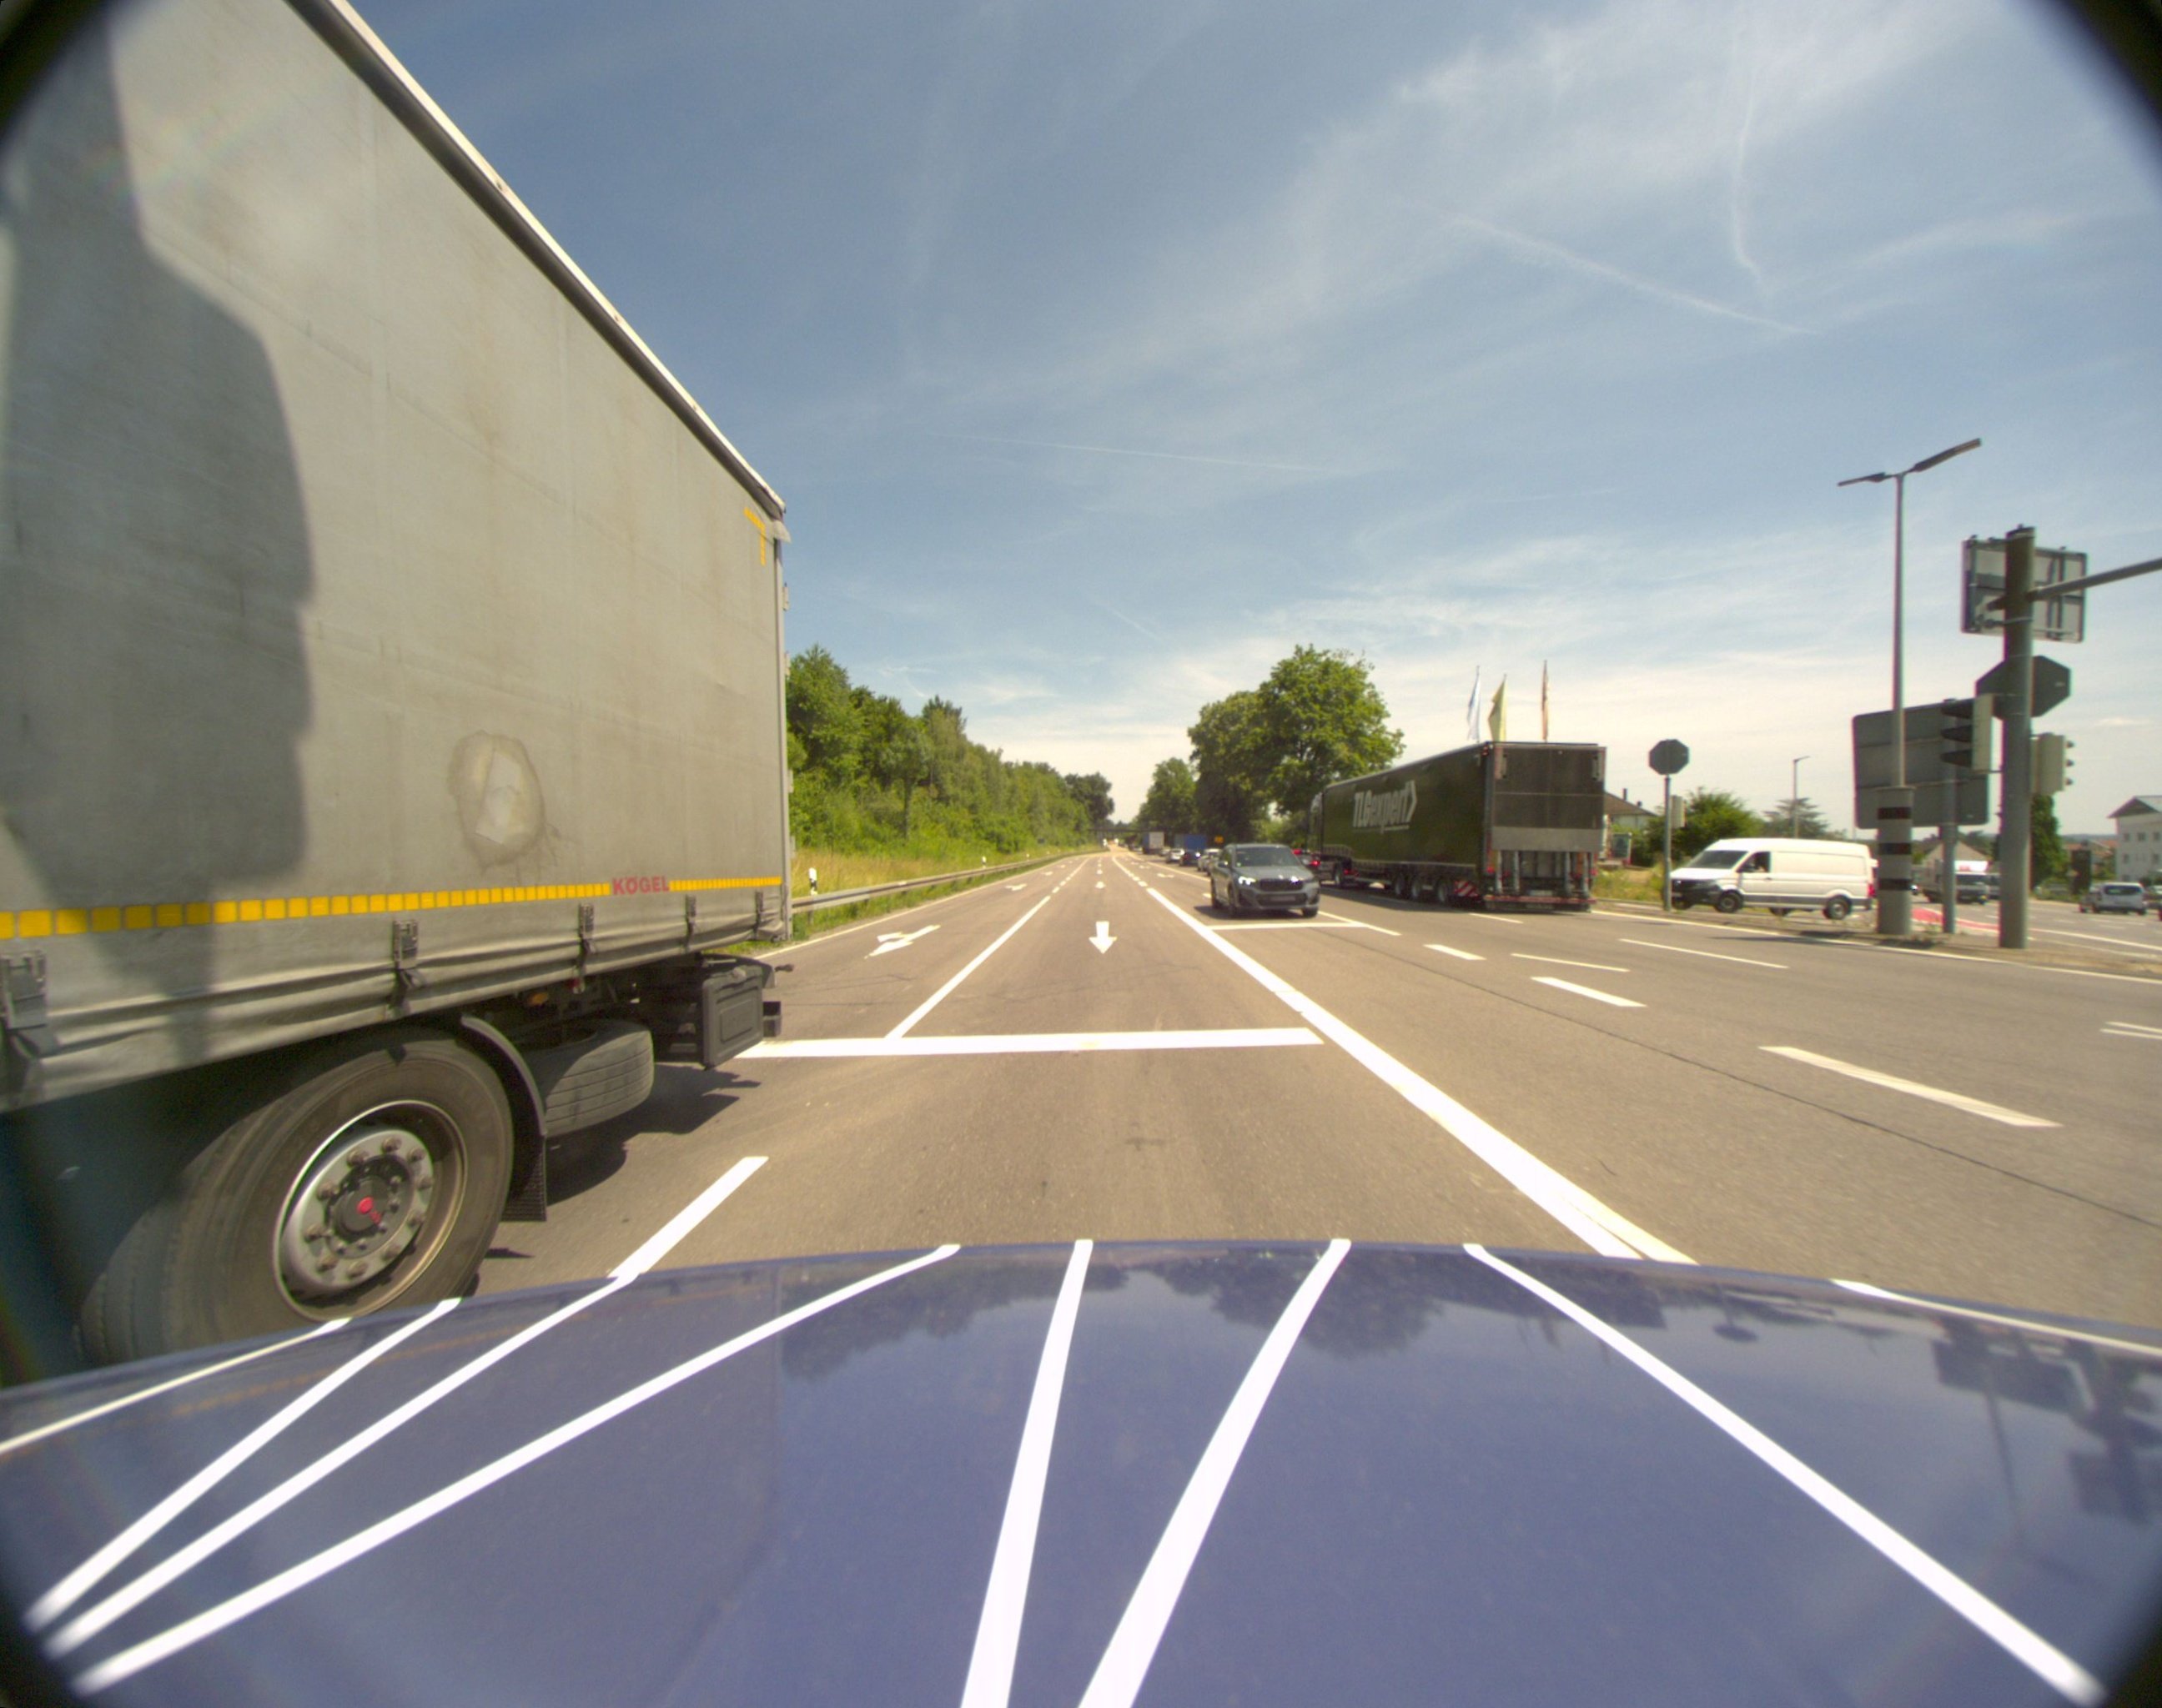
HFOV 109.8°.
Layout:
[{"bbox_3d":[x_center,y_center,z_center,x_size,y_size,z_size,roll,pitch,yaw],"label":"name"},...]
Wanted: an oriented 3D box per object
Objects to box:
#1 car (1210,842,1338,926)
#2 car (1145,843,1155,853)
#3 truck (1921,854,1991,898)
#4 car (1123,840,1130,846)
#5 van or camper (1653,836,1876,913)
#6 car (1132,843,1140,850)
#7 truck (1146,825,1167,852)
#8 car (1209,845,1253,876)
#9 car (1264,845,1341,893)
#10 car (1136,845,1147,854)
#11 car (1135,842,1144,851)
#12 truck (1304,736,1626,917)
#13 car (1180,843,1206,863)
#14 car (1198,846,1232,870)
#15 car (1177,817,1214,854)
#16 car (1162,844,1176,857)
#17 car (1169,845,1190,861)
[{"bbox_3d":[4.206,0.566,17.313,1.928,1.601,4.510,-1,1,3],"label":"car"},{"bbox_3d":[13.251,-1.158,145.664,1.899,2.002,3.754,1,1,6],"label":"car"},{"bbox_3d":[70.349,1.662,61.282,9.634,3.202,2.994,0,1,-45],"label":"truck"},{"bbox_3d":[15.370,-3.604,256.774,1.998,2.002,4.000,1,1,3],"label":"car"},{"bbox_3d":[22.445,0.628,25.119,5.465,2.398,2.096,0,1,-1],"label":"van or camper"},{"bbox_3d":[14.474,-1.888,199.059,1.998,1.707,4.000,1,1,2],"label":"car"},{"bbox_3d":[13.639,-2.745,136.499,3.533,4.496,7.204,-2,1,6],"label":"truck"},{"bbox_3d":[7.966,0.308,40.637,1.687,1.489,3.821,2,1,3],"label":"car"},{"bbox_3d":[7.776,0.479,27.027,1.687,1.489,3.955,2,1,3],"label":"car"},{"bbox_3d":[13.696,-1.083,171.628,2.168,2.002,4.002,1,1,6],"label":"car"},{"bbox_3d":[14.381,-1.839,186.170,1.998,2.002,4.001,1,1,5],"label":"car"},{"bbox_3d":[10.997,-0.774,25.382,2.850,3.932,17.087,2,1,3],"label":"truck"},{"bbox_3d":[9.316,-0.103,63.426,1.687,1.489,3.955,2,1,3],"label":"car"},{"bbox_3d":[8.792,0.227,50.105,1.687,1.489,3.955,2,1,3],"label":"car"},{"bbox_3d":[13.185,-2.122,88.237,3.351,4.056,7.693,1,1,2],"label":"car"},{"bbox_3d":[13.707,-0.607,118.392,1.998,2.002,4.001,1,1,4],"label":"car"},{"bbox_3d":[9.693,-0.098,75.015,1.687,1.489,3.955,2,1,3],"label":"car"}]
